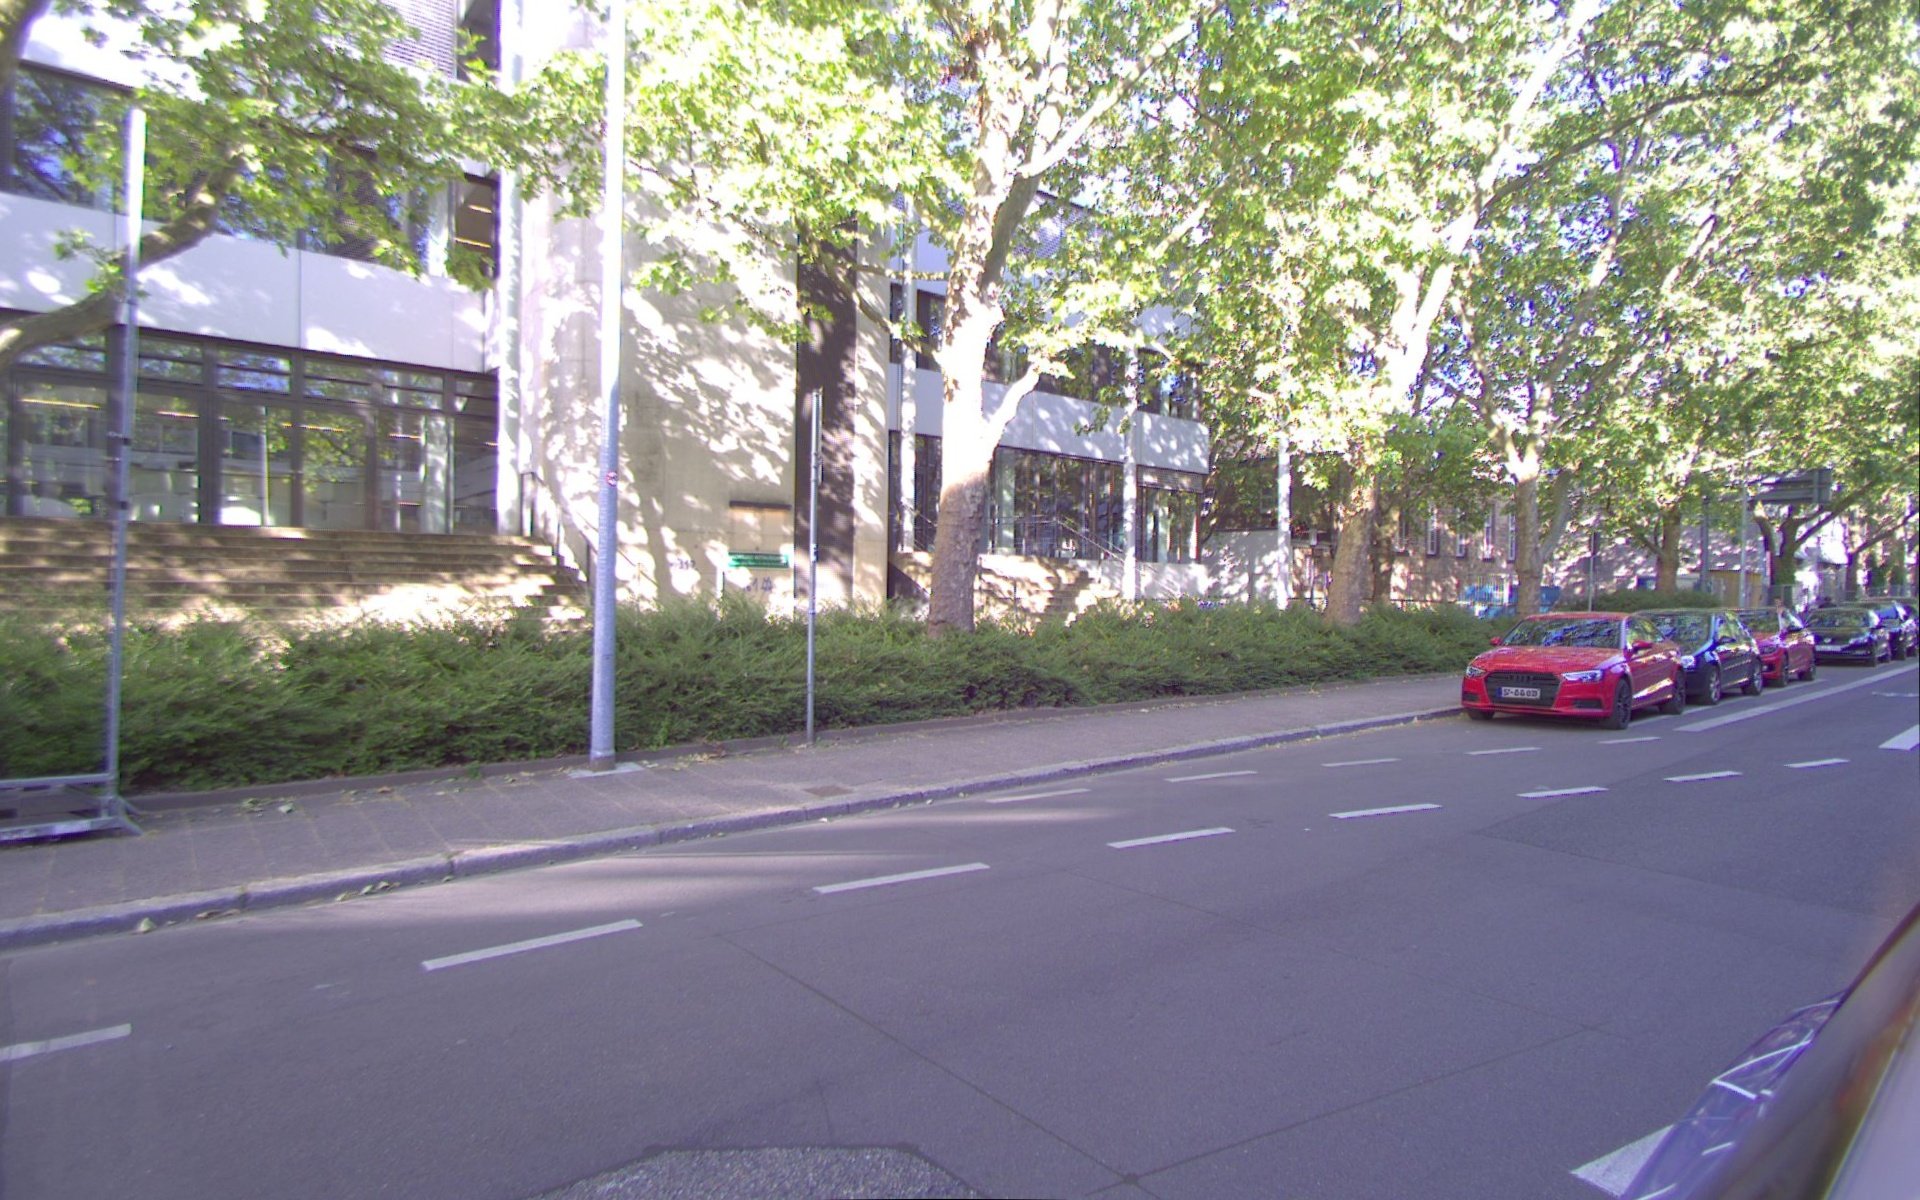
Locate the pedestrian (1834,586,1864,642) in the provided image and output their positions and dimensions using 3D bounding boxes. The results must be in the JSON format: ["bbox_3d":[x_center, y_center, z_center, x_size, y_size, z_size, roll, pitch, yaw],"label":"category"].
[{"bbox_3d":[30.393,0.473,34.599,0.629,1.884,0.660,0,0,-41],"label":"pedestrian"}]

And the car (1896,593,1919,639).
[{"bbox_3d":[35.906,0.577,37.100,4.183,1.634,1.834,0,0,-40],"label":"car"}]

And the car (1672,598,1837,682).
[{"bbox_3d":[15.836,0.706,20.099,4.095,1.486,1.834,0,0,-41],"label":"car"}]

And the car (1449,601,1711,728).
[{"bbox_3d":[8.401,0.734,13.568,4.173,1.422,1.834,0,0,-41],"label":"car"}]

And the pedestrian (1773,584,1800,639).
[{"bbox_3d":[27.392,0.375,33.529,0.583,1.818,0.600,0,0,-41],"label":"pedestrian"}]

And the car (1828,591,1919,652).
[{"bbox_3d":[26.557,0.569,29.085,4.088,1.626,1.834,0,0,-40],"label":"car"}]

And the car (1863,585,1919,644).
[{"bbox_3d":[31.043,0.435,32.974,4.383,1.820,1.834,0,0,-40],"label":"car"}]

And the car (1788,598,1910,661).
[{"bbox_3d":[22.869,0.699,25.990,4.095,1.486,1.834,0,0,-41],"label":"car"}]

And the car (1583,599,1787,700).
[{"bbox_3d":[12.021,0.716,16.684,4.095,1.464,1.834,0,0,-41],"label":"car"}]
